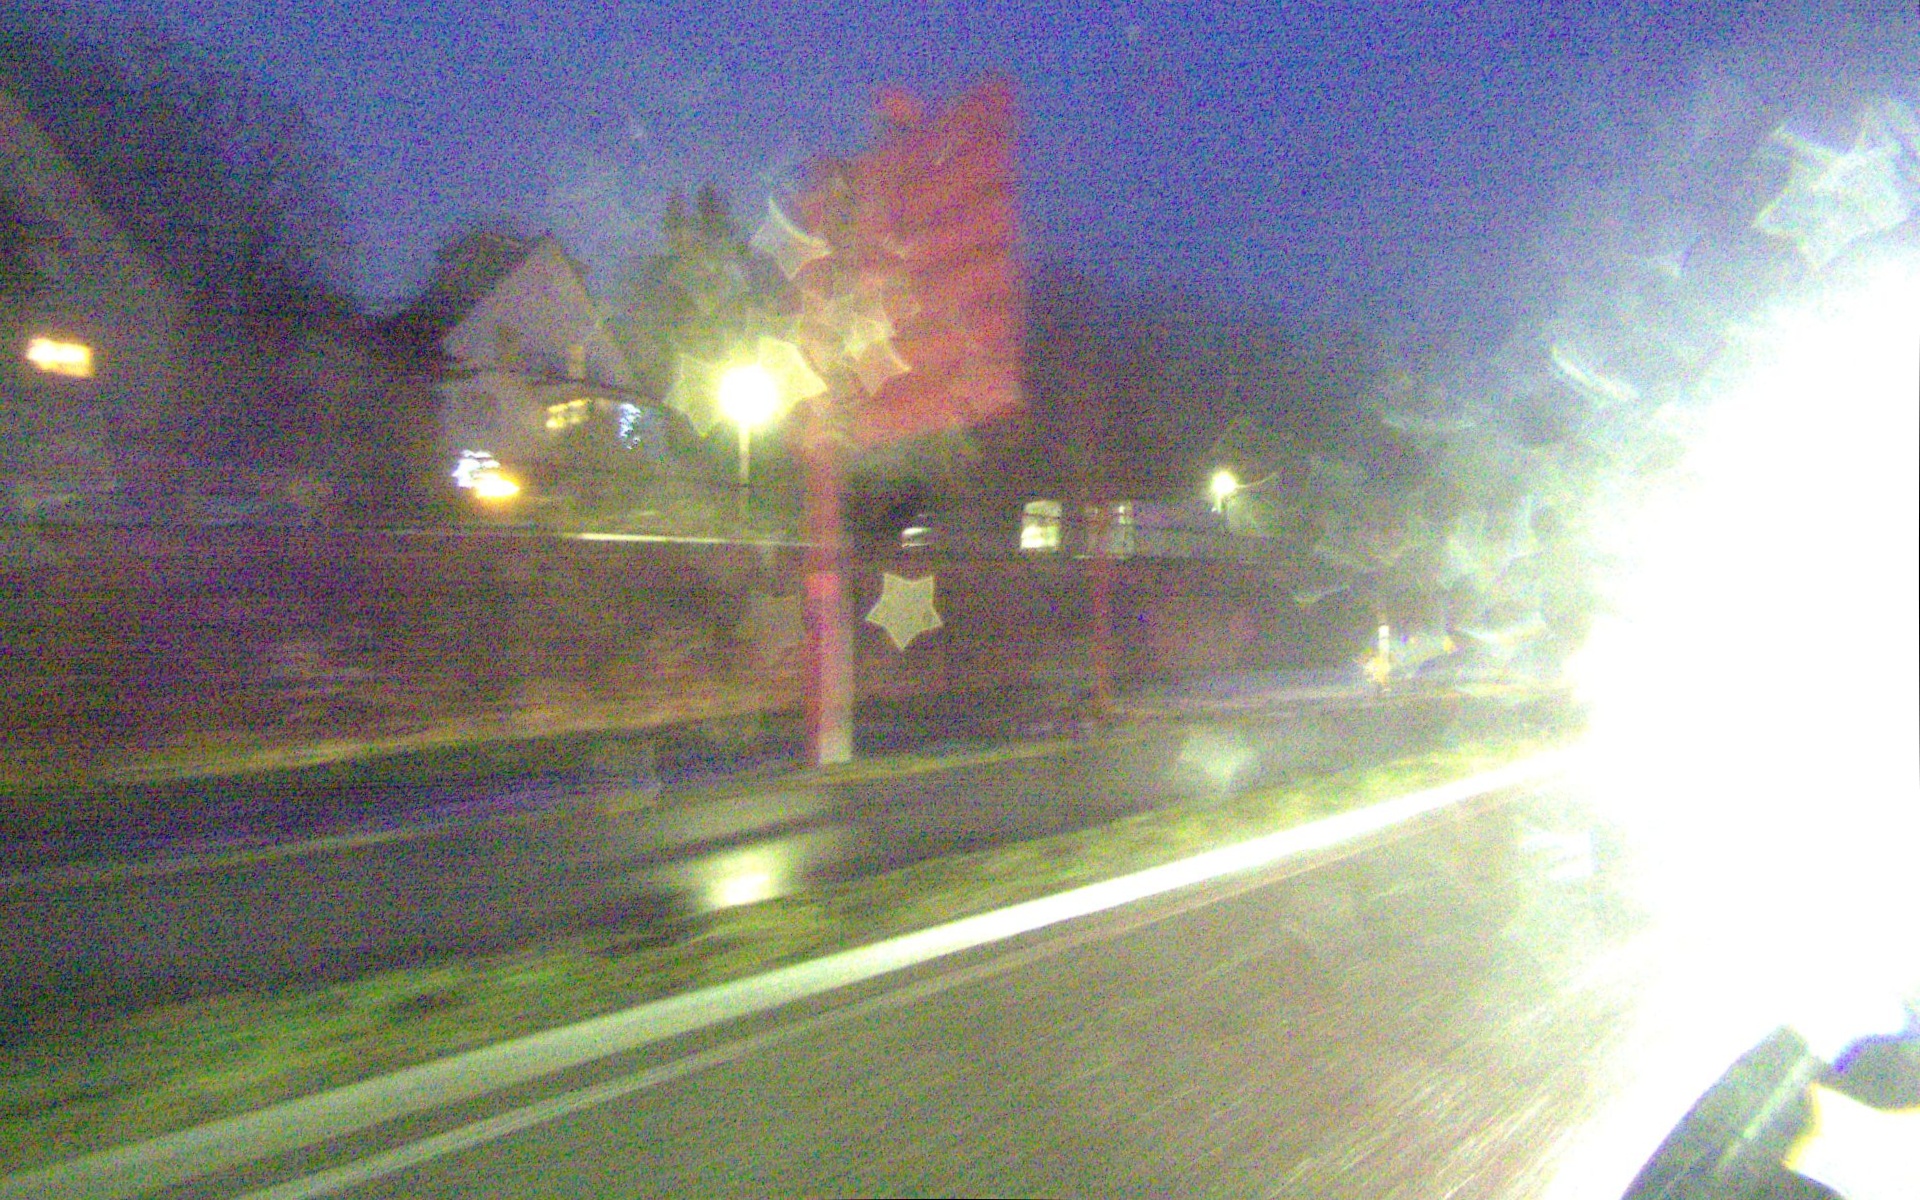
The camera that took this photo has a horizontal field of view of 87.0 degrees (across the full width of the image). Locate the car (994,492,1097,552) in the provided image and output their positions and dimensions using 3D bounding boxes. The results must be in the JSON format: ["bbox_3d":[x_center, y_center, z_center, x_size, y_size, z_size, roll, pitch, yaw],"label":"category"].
[{"bbox_3d":[2.826,-2.475,32.865,1.607,1.661,3.950,0,0,35],"label":"car"}]

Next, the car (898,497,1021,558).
[{"bbox_3d":[0.063,-2.023,29.275,1.607,1.491,3.950,0,0,35],"label":"car"}]

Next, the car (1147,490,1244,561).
[{"bbox_3d":[10.218,-3.108,43.538,2.109,2.668,5.378,0,0,37],"label":"car"}]

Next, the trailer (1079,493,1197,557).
[{"bbox_3d":[6.964,-2.806,39.094,2.220,2.098,5.644,0,0,37],"label":"trailer"}]
